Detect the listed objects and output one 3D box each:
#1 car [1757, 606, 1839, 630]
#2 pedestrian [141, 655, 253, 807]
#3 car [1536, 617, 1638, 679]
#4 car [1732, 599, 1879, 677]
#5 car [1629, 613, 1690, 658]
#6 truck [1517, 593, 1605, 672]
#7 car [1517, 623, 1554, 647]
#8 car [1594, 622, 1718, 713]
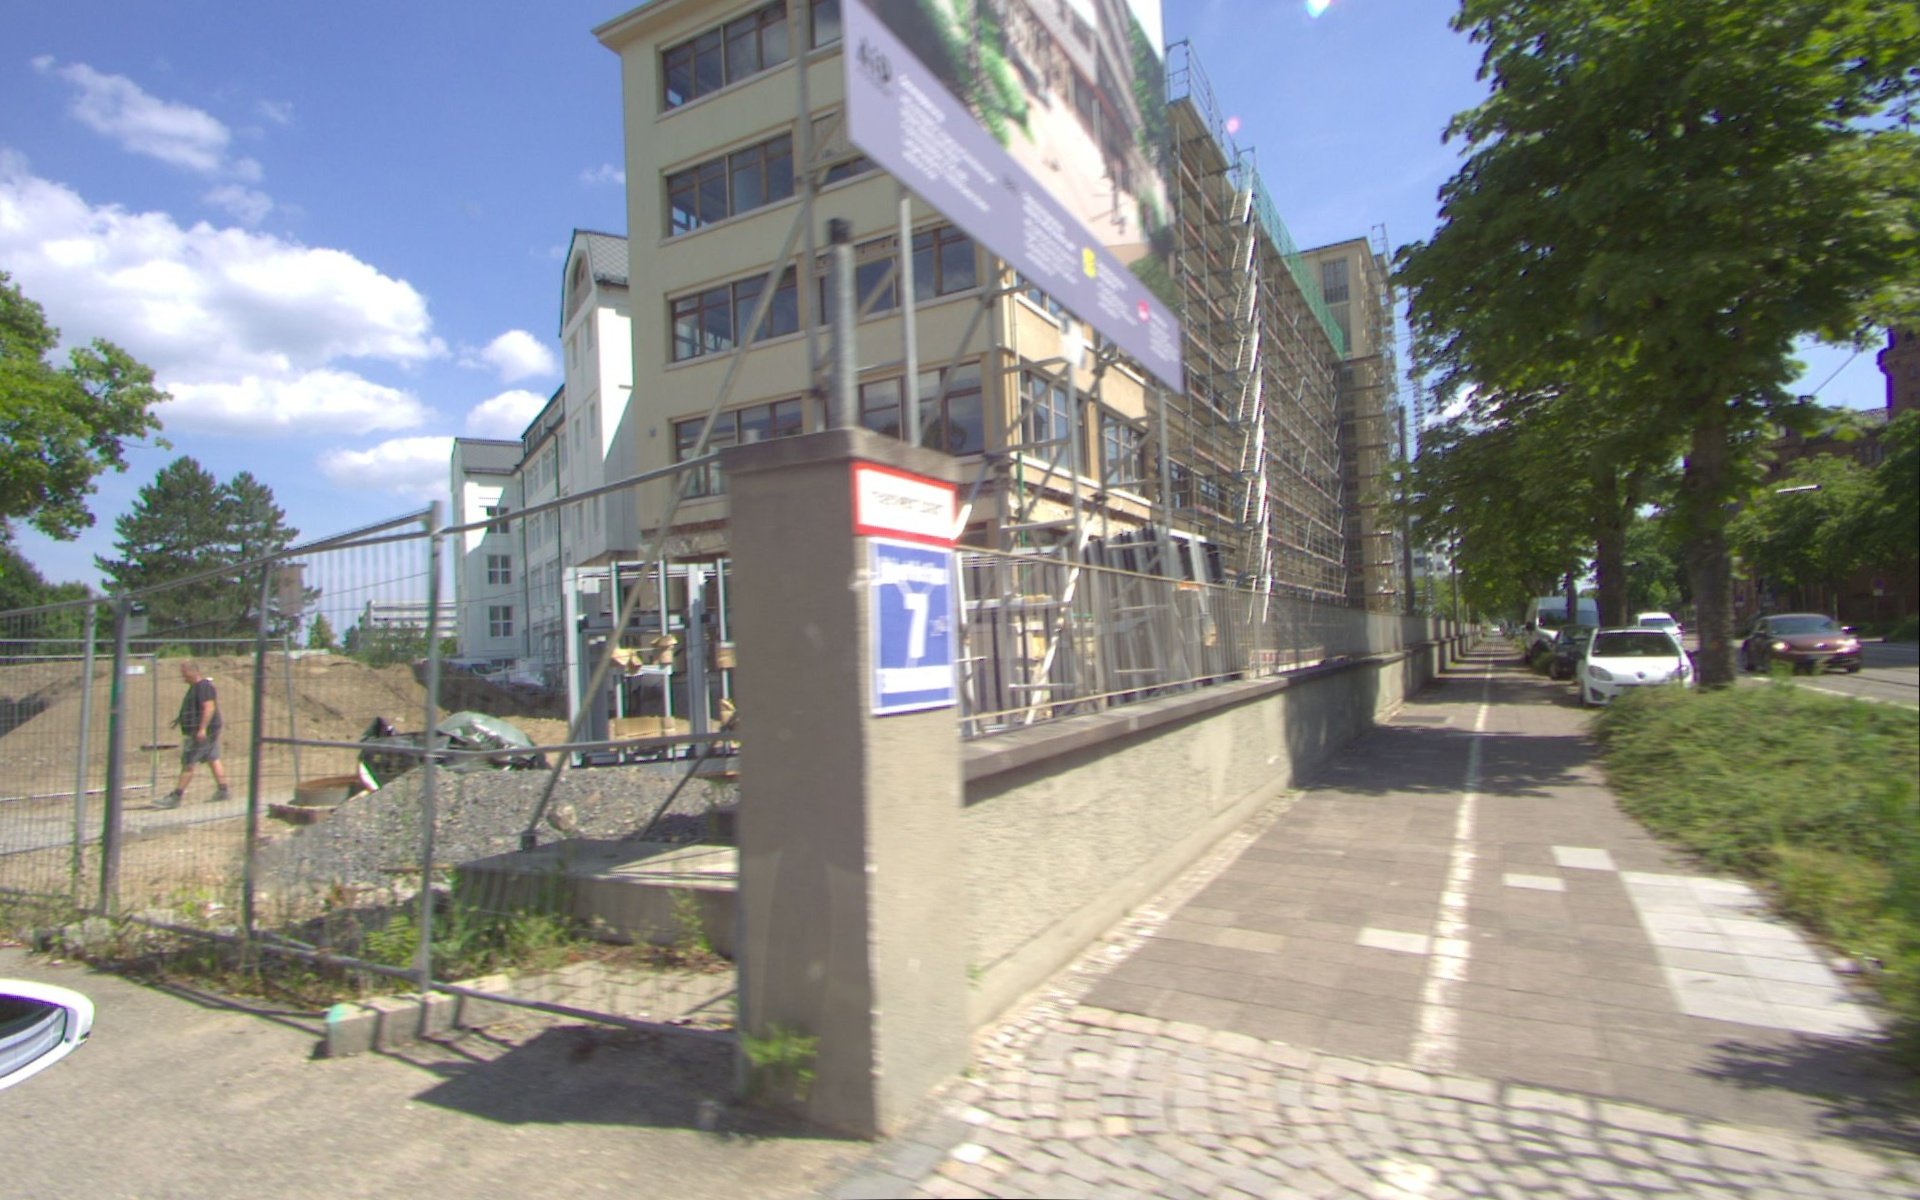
[{"bbox_3d":[58.830,1.307,70.376,3.923,1.504,2.001,-2,-2,7],"label":"car"},{"bbox_3d":[-9.905,1.666,13.006,0.860,1.842,0.961,-3,-2,38],"label":"pedestrian"},{"bbox_3d":[17.879,1.361,28.747,1.968,1.627,3.988,-2,-2,25],"label":"car"},{"bbox_3d":[21.357,0.960,25.493,1.971,1.709,3.984,-5,-4,28],"label":"car"},{"bbox_3d":[33.844,1.709,48.528,1.971,2.039,3.983,-3,-3,29],"label":"car"},{"bbox_3d":[21.056,1.163,35.314,1.995,2.516,5.854,-3,-3,25],"label":"truck"},{"bbox_3d":[38.523,2.347,67.143,1.970,1.504,4.321,-3,-3,28],"label":"car"},{"bbox_3d":[12.294,1.153,17.872,1.600,1.458,3.565,-3,-3,32],"label":"car"}]
